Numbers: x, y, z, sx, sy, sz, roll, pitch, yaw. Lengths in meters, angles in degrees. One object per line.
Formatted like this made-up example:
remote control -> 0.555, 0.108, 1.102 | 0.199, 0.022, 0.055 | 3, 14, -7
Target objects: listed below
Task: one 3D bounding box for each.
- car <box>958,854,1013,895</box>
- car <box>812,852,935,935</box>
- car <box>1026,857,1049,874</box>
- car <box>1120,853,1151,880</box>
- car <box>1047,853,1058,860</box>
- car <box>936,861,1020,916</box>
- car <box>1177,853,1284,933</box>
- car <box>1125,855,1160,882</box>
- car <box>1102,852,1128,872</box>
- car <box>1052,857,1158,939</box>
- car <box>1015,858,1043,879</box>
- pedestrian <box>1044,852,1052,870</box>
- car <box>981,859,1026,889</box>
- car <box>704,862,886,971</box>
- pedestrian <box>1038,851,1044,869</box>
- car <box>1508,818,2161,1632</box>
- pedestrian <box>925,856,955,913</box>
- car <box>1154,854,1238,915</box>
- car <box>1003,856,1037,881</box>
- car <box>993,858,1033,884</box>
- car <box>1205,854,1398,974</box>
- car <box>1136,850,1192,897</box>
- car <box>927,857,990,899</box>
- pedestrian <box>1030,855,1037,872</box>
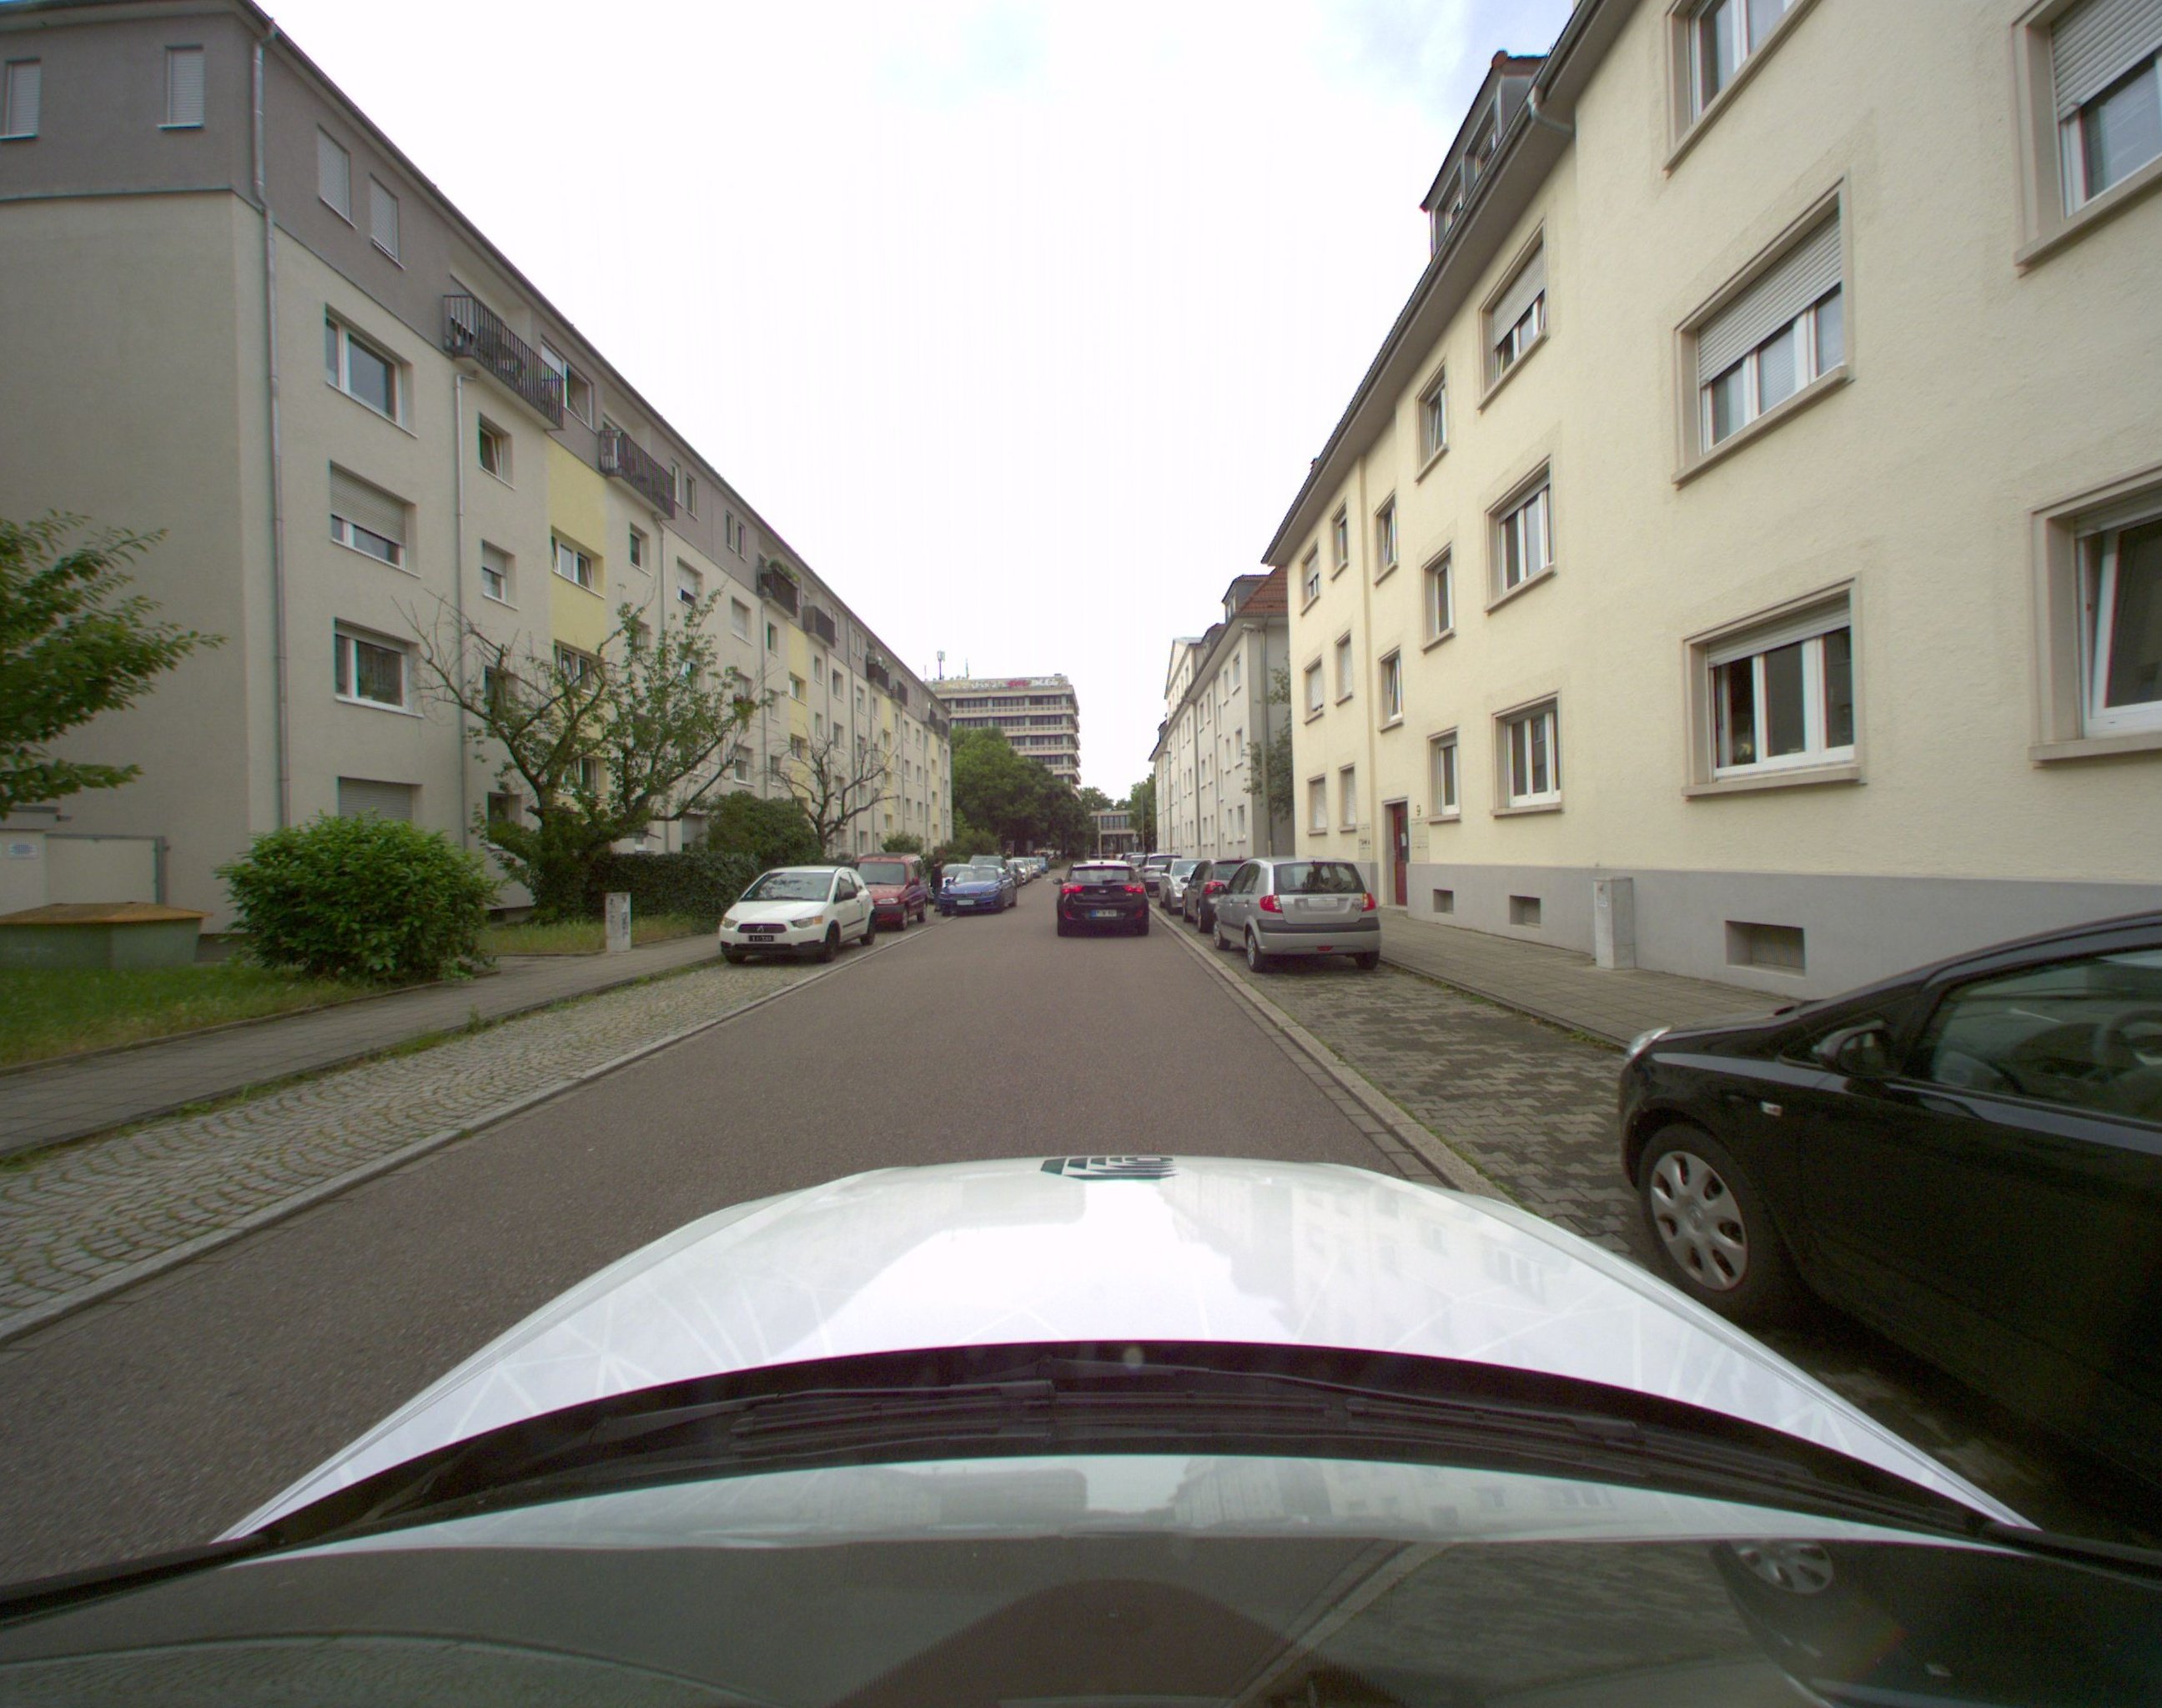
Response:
car -> -4.251, 0.867, 37.062 | 1.888, 1.740, 4.475 | 1, 0, 1
car -> -4.899, 0.854, 19.857 | 1.951, 1.770, 4.359 | -1, 0, -2
car -> -4.020, 1.062, 75.331 | 1.988, 1.541, 3.997 | -1, 0, -2
car -> 3.466, 0.740, 52.134 | 1.813, 1.603, 4.092 | -2, 0, 2
car -> -5.150, 0.436, 147.001 | 1.660, 1.333, 3.396 | -1, 0, 1
car -> -3.063, 0.993, 25.131 | 1.838, 1.451, 4.503 | -1, 0, 2
car -> 3.037, 0.739, 17.248 | 1.597, 1.476, 3.870 | -1, 0, 1
car -> 3.504, 0.799, 47.254 | 1.813, 1.503, 4.092 | -1, 0, 2
car -> 2.685, 0.618, 65.022 | 1.814, 1.519, 4.673 | -2, 0, 0
car -> 0.499, 0.823, 17.135 | 1.896, 1.433, 4.234 | -2, 0, 1
car -> -4.015, 1.071, 63.011 | 1.988, 1.541, 3.997 | -1, 0, -2
pedestrian -> -3.453, 0.737, 84.799 | 0.711, 1.831, 0.798 | -1, 0, 2
car -> -4.039, 1.035, 43.232 | 1.888, 1.452, 4.667 | 1, 0, 1
car -> -4.705, 0.945, 14.020 | 1.714, 1.570, 3.870 | 0, 0, 1
pedestrian -> -4.179, 0.620, 85.100 | 0.602, 1.831, 0.676 | -1, 0, 2
car -> 2.863, 0.680, 1.764 | 1.720, 1.517, 4.059 | -1, 0, -1
pedestrian -> -4.357, 0.921, 25.157 | 0.742, 1.701, 0.791 | -2, 0, -17
car -> 3.006, 0.743, 22.158 | 1.719, 1.476, 4.505 | -1, 0, 1
car -> -4.052, 0.950, 54.703 | 1.888, 1.599, 4.521 | 1, 0, 1
car -> -3.998, 0.994, 48.578 | 1.888, 1.452, 4.521 | 1, 0, 1
car -> 2.993, 0.740, 11.902 | 1.842, 1.450, 3.833 | -1, 0, 1
car -> 3.104, 0.700, 31.075 | 1.813, 1.642, 4.092 | -1, 0, 2
car -> -4.669, 0.886, 31.517 | 1.738, 1.464, 3.786 | -2, 0, 1
pedestrian -> -4.961, 0.960, 84.914 | 0.598, 1.713, 0.649 | -1, 0, 2
